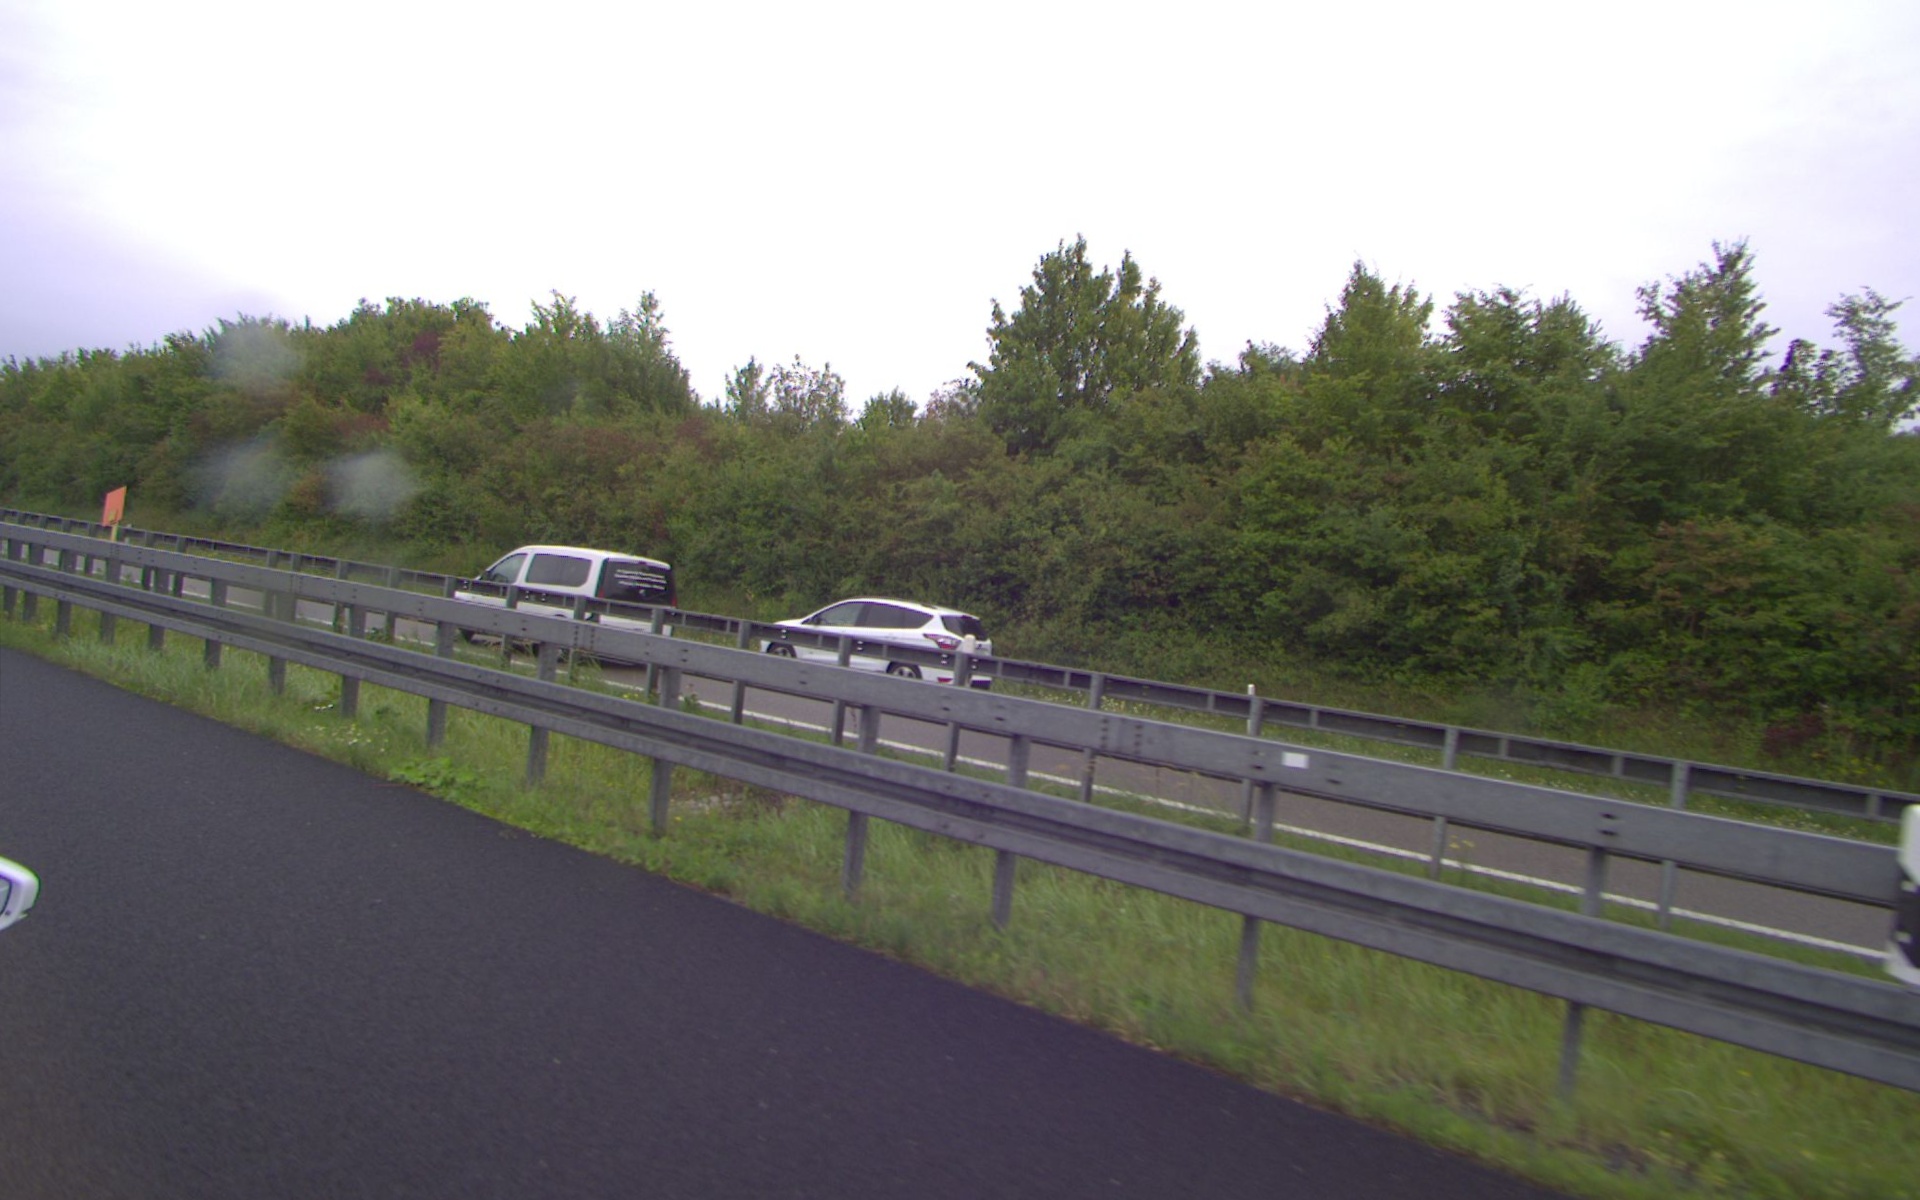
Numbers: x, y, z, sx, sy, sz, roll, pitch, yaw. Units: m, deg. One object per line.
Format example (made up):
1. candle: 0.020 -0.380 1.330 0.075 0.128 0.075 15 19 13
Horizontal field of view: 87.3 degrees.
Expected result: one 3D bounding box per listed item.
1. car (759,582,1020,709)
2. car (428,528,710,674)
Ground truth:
1. car: -1.265 0.777 17.664 4.076 1.632 1.900 7 -1 31
2. car: -6.518 0.003 16.719 4.203 1.836 2.012 7 -1 30
